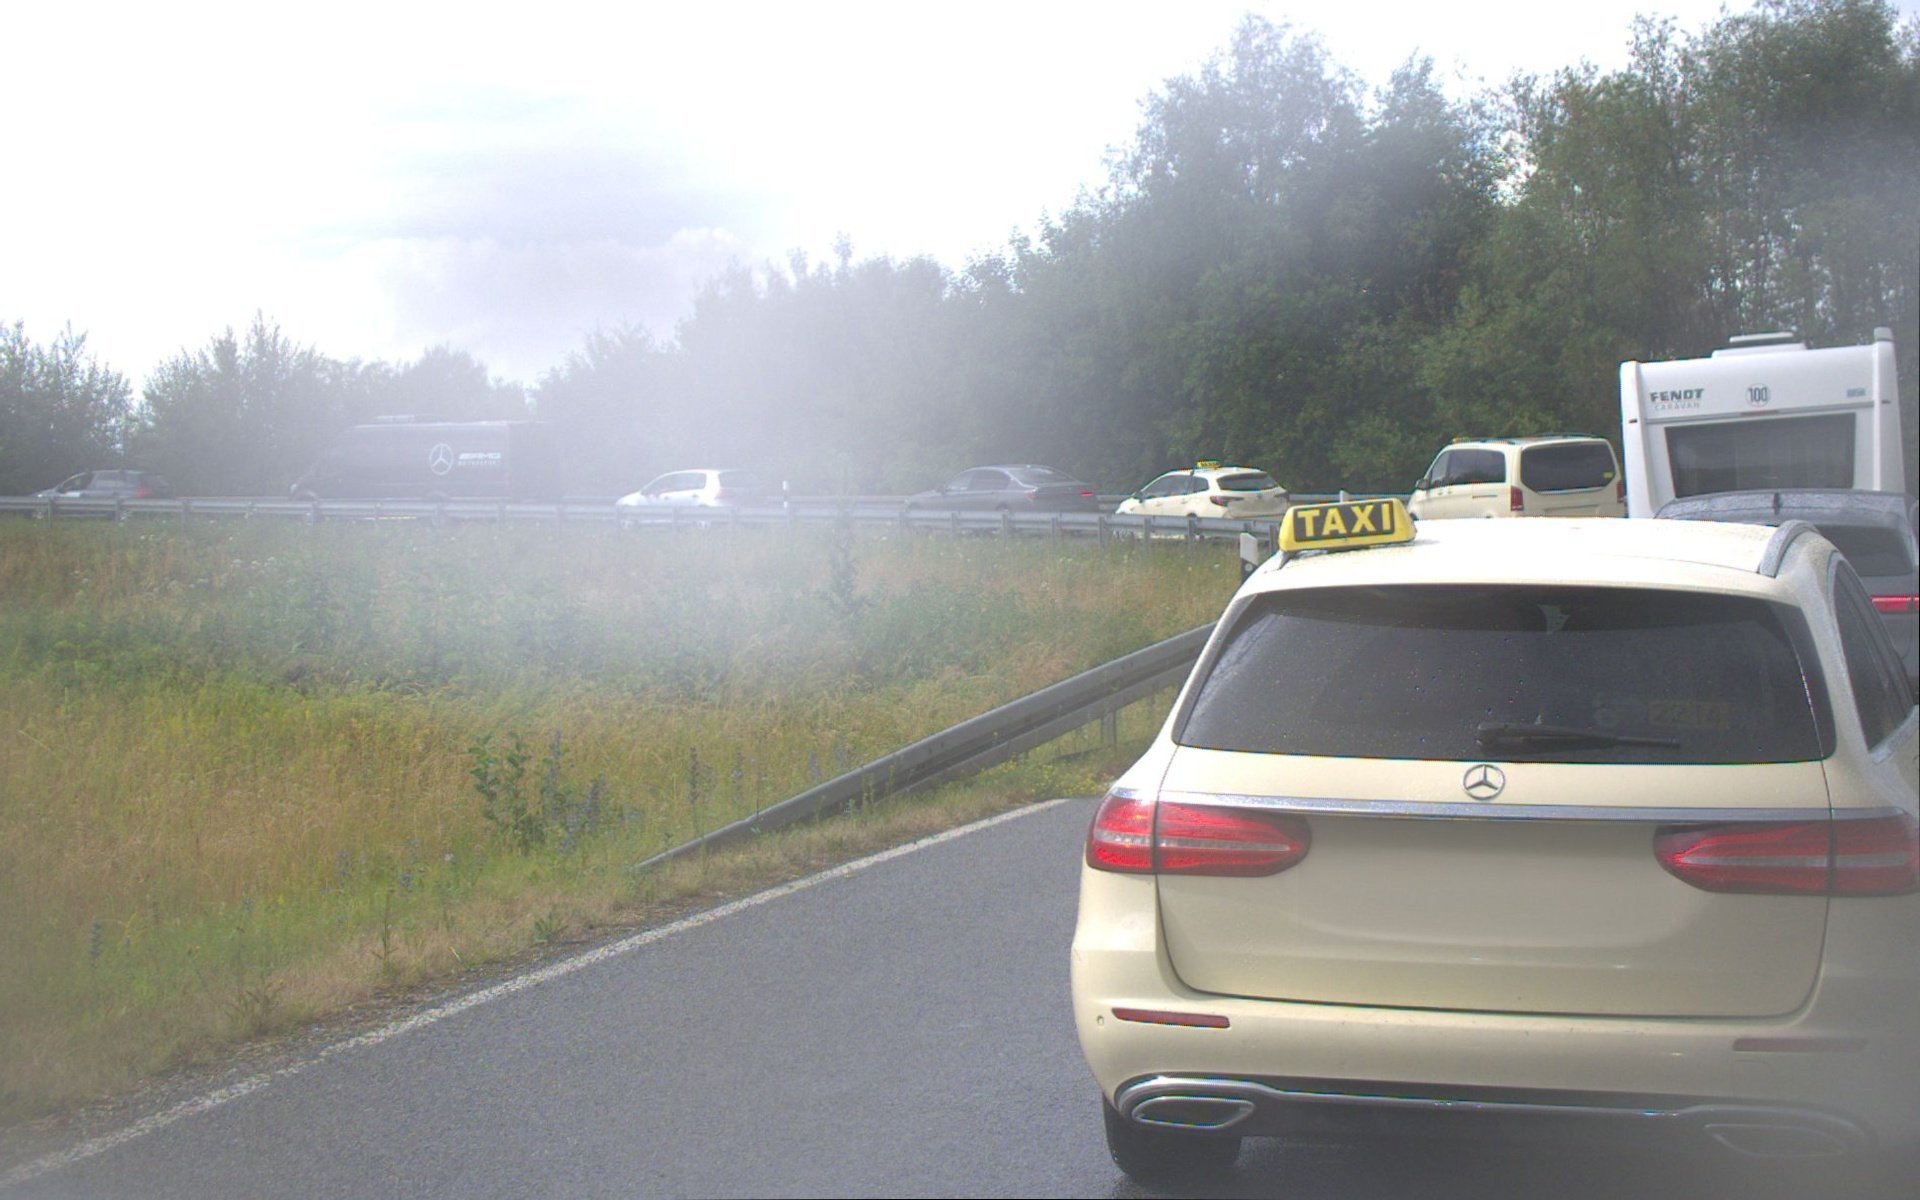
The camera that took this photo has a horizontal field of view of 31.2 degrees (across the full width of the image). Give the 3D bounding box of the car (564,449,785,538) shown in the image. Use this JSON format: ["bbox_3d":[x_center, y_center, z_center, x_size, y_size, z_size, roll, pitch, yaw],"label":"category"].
[{"bbox_3d":[-6.690,-2.452,80.264,5.051,1.855,1.996,-2,0,37],"label":"car"}]

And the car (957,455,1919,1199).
[{"bbox_3d":[1.558,0.481,8.461,1.917,1.502,4.592,-1,0,16],"label":"car"}]

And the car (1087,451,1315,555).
[{"bbox_3d":[4.440,-1.778,64.215,1.993,1.855,5.058,0,1,-26],"label":"car"}]

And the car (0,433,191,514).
[{"bbox_3d":[-22.570,-3.237,88.601,5.045,1.855,1.998,-2,0,20],"label":"car"}]

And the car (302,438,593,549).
[{"bbox_3d":[-12.685,-2.610,84.936,6.975,2.586,2.870,0,2,34],"label":"car"}]

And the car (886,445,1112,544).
[{"bbox_3d":[0.773,-2.189,72.103,1.994,1.855,5.056,-2,0,-37],"label":"car"}]

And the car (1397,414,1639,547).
[{"bbox_3d":[8.621,-1.822,53.633,1.993,1.855,5.059,-2,0,-12],"label":"car"}]

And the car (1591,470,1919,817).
[{"bbox_3d":[4.265,0.156,17.131,1.719,1.519,3.997,0,1,17],"label":"car"}]

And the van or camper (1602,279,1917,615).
[{"bbox_3d":[7.336,-1.269,31.039,2.432,2.720,5.997,0,1,16],"label":"van or camper"}]
